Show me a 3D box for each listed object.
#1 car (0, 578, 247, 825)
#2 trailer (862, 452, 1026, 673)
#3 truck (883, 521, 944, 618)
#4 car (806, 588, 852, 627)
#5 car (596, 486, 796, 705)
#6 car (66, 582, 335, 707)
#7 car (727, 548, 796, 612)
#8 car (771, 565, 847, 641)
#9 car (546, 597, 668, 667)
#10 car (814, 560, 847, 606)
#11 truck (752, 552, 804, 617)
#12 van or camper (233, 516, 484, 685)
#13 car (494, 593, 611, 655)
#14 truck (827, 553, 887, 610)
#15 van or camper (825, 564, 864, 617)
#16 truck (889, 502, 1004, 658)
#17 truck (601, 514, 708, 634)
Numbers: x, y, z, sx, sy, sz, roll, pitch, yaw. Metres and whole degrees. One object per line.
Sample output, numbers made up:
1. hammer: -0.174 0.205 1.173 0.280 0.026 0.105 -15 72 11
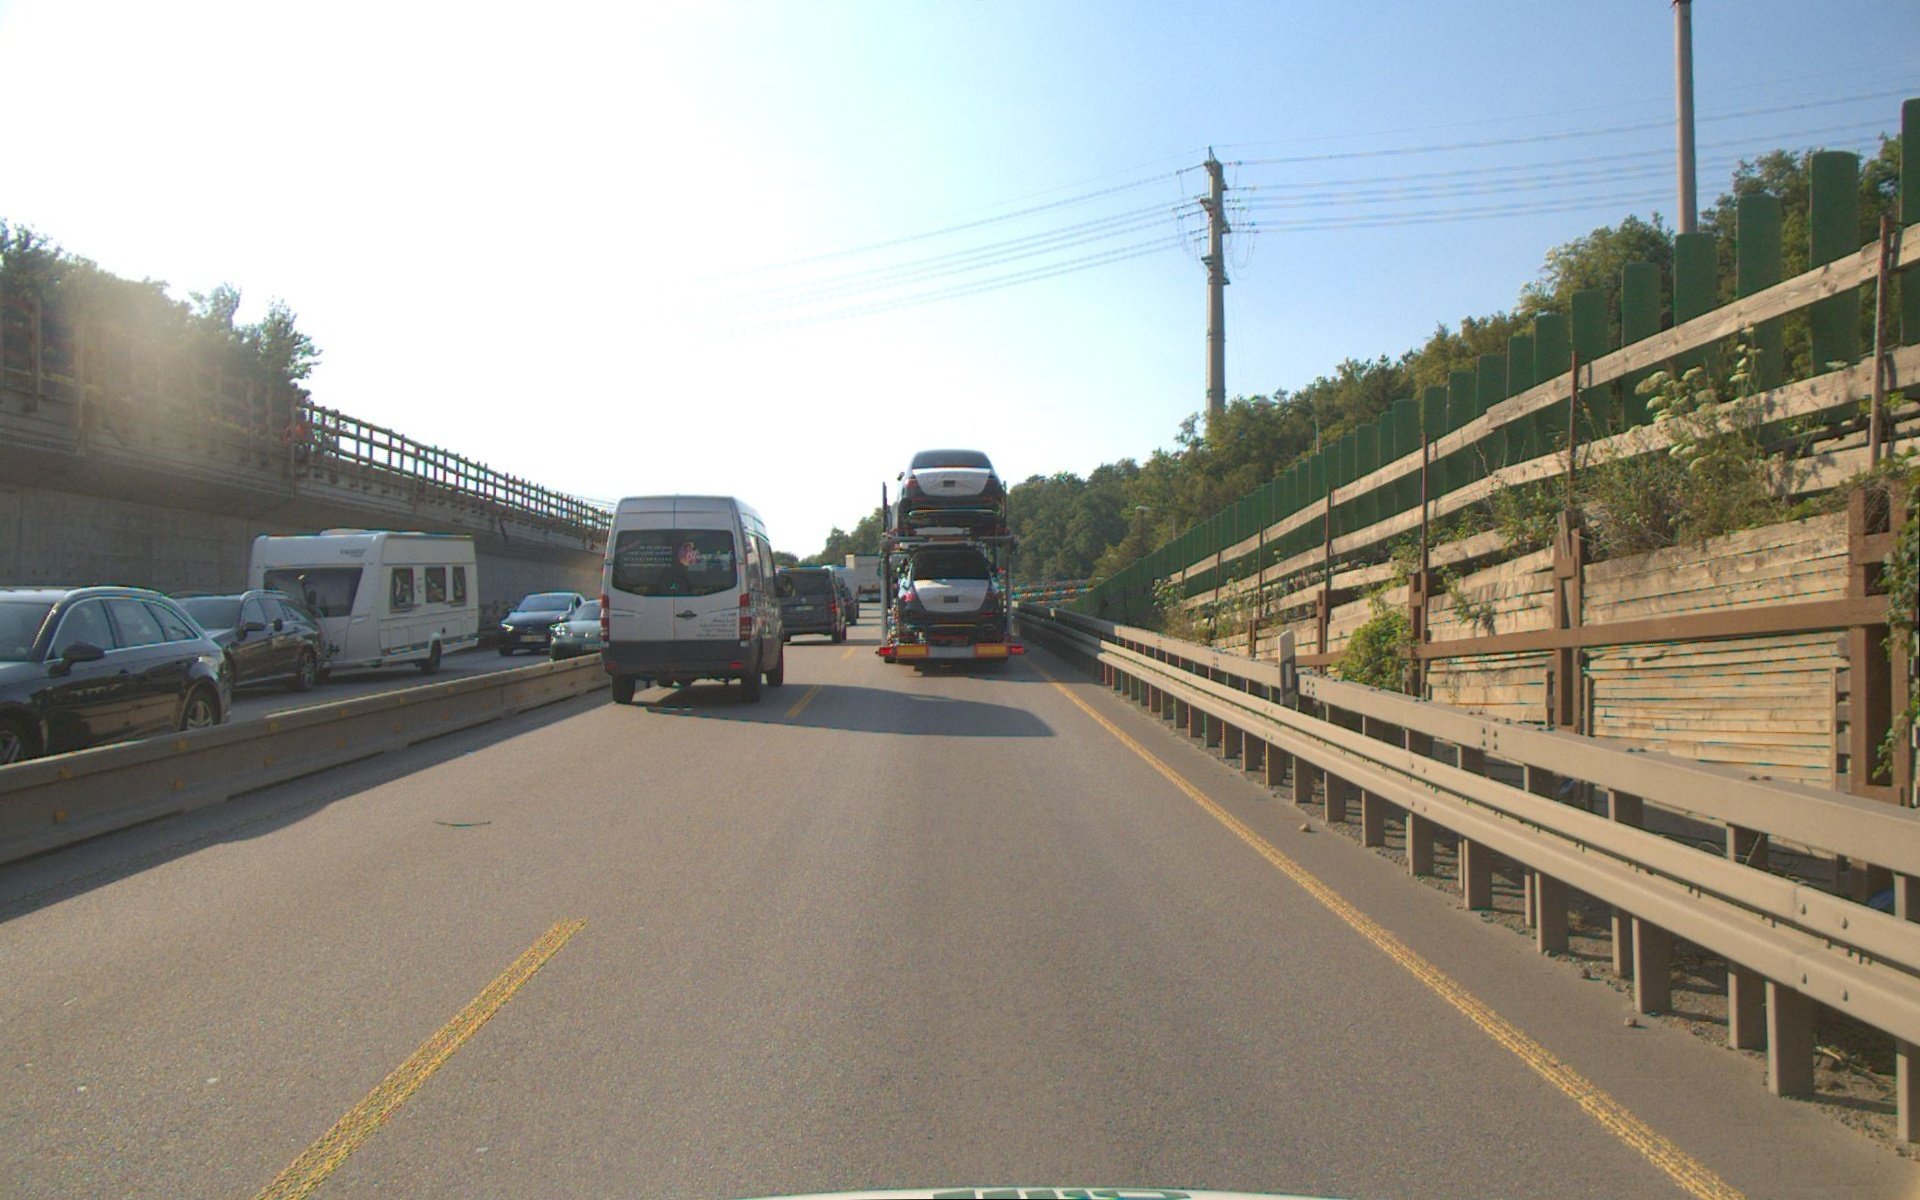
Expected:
1. car: -6.755 0.601 11.487 1.728 1.475 4.457 2 0 -1
2. trailer: -0.296 -0.539 35.079 2.628 3.596 15.286 1 -1 0
3. truck: -2.420 -1.503 84.239 2.850 4.687 7.281 1 0 -3
4. car: -5.417 0.301 68.750 1.690 1.549 3.972 2 0 -2
5. car: -3.531 -0.068 23.174 1.953 2.694 5.530 0 0 0
6. car: -10.435 0.560 23.152 1.607 1.557 4.782 -1 0 -1
7. car: -8.264 -0.789 69.088 2.421 2.578 3.999 1 -1 -1
8. car: -4.065 0.114 45.089 1.772 1.937 3.998 2 -1 -2
9. car: -7.272 0.618 34.456 1.745 1.348 4.238 0 0 -2
10. car: -14.842 -1.915 189.060 3.379 5.123 9.639 1 0 -7
11. truck: -12.849 -1.016 117.954 2.924 4.226 15.842 1 0 -4
12. van or camper: -10.724 -0.002 30.158 2.265 2.709 6.454 -1 0 -1
13. car: -10.436 0.582 42.700 1.932 1.446 4.898 -2 0 -2
14. truck: -9.112 -1.545 145.040 3.992 4.761 10.564 1 0 -11
15. van or camper: -6.138 -0.464 87.929 1.929 2.637 5.037 2 -1 -4
16. truck: -0.340 -0.435 42.593 2.628 3.596 7.192 1 -1 0
17. truck: -11.599 -0.939 63.706 2.571 4.184 9.623 -2 0 -2
